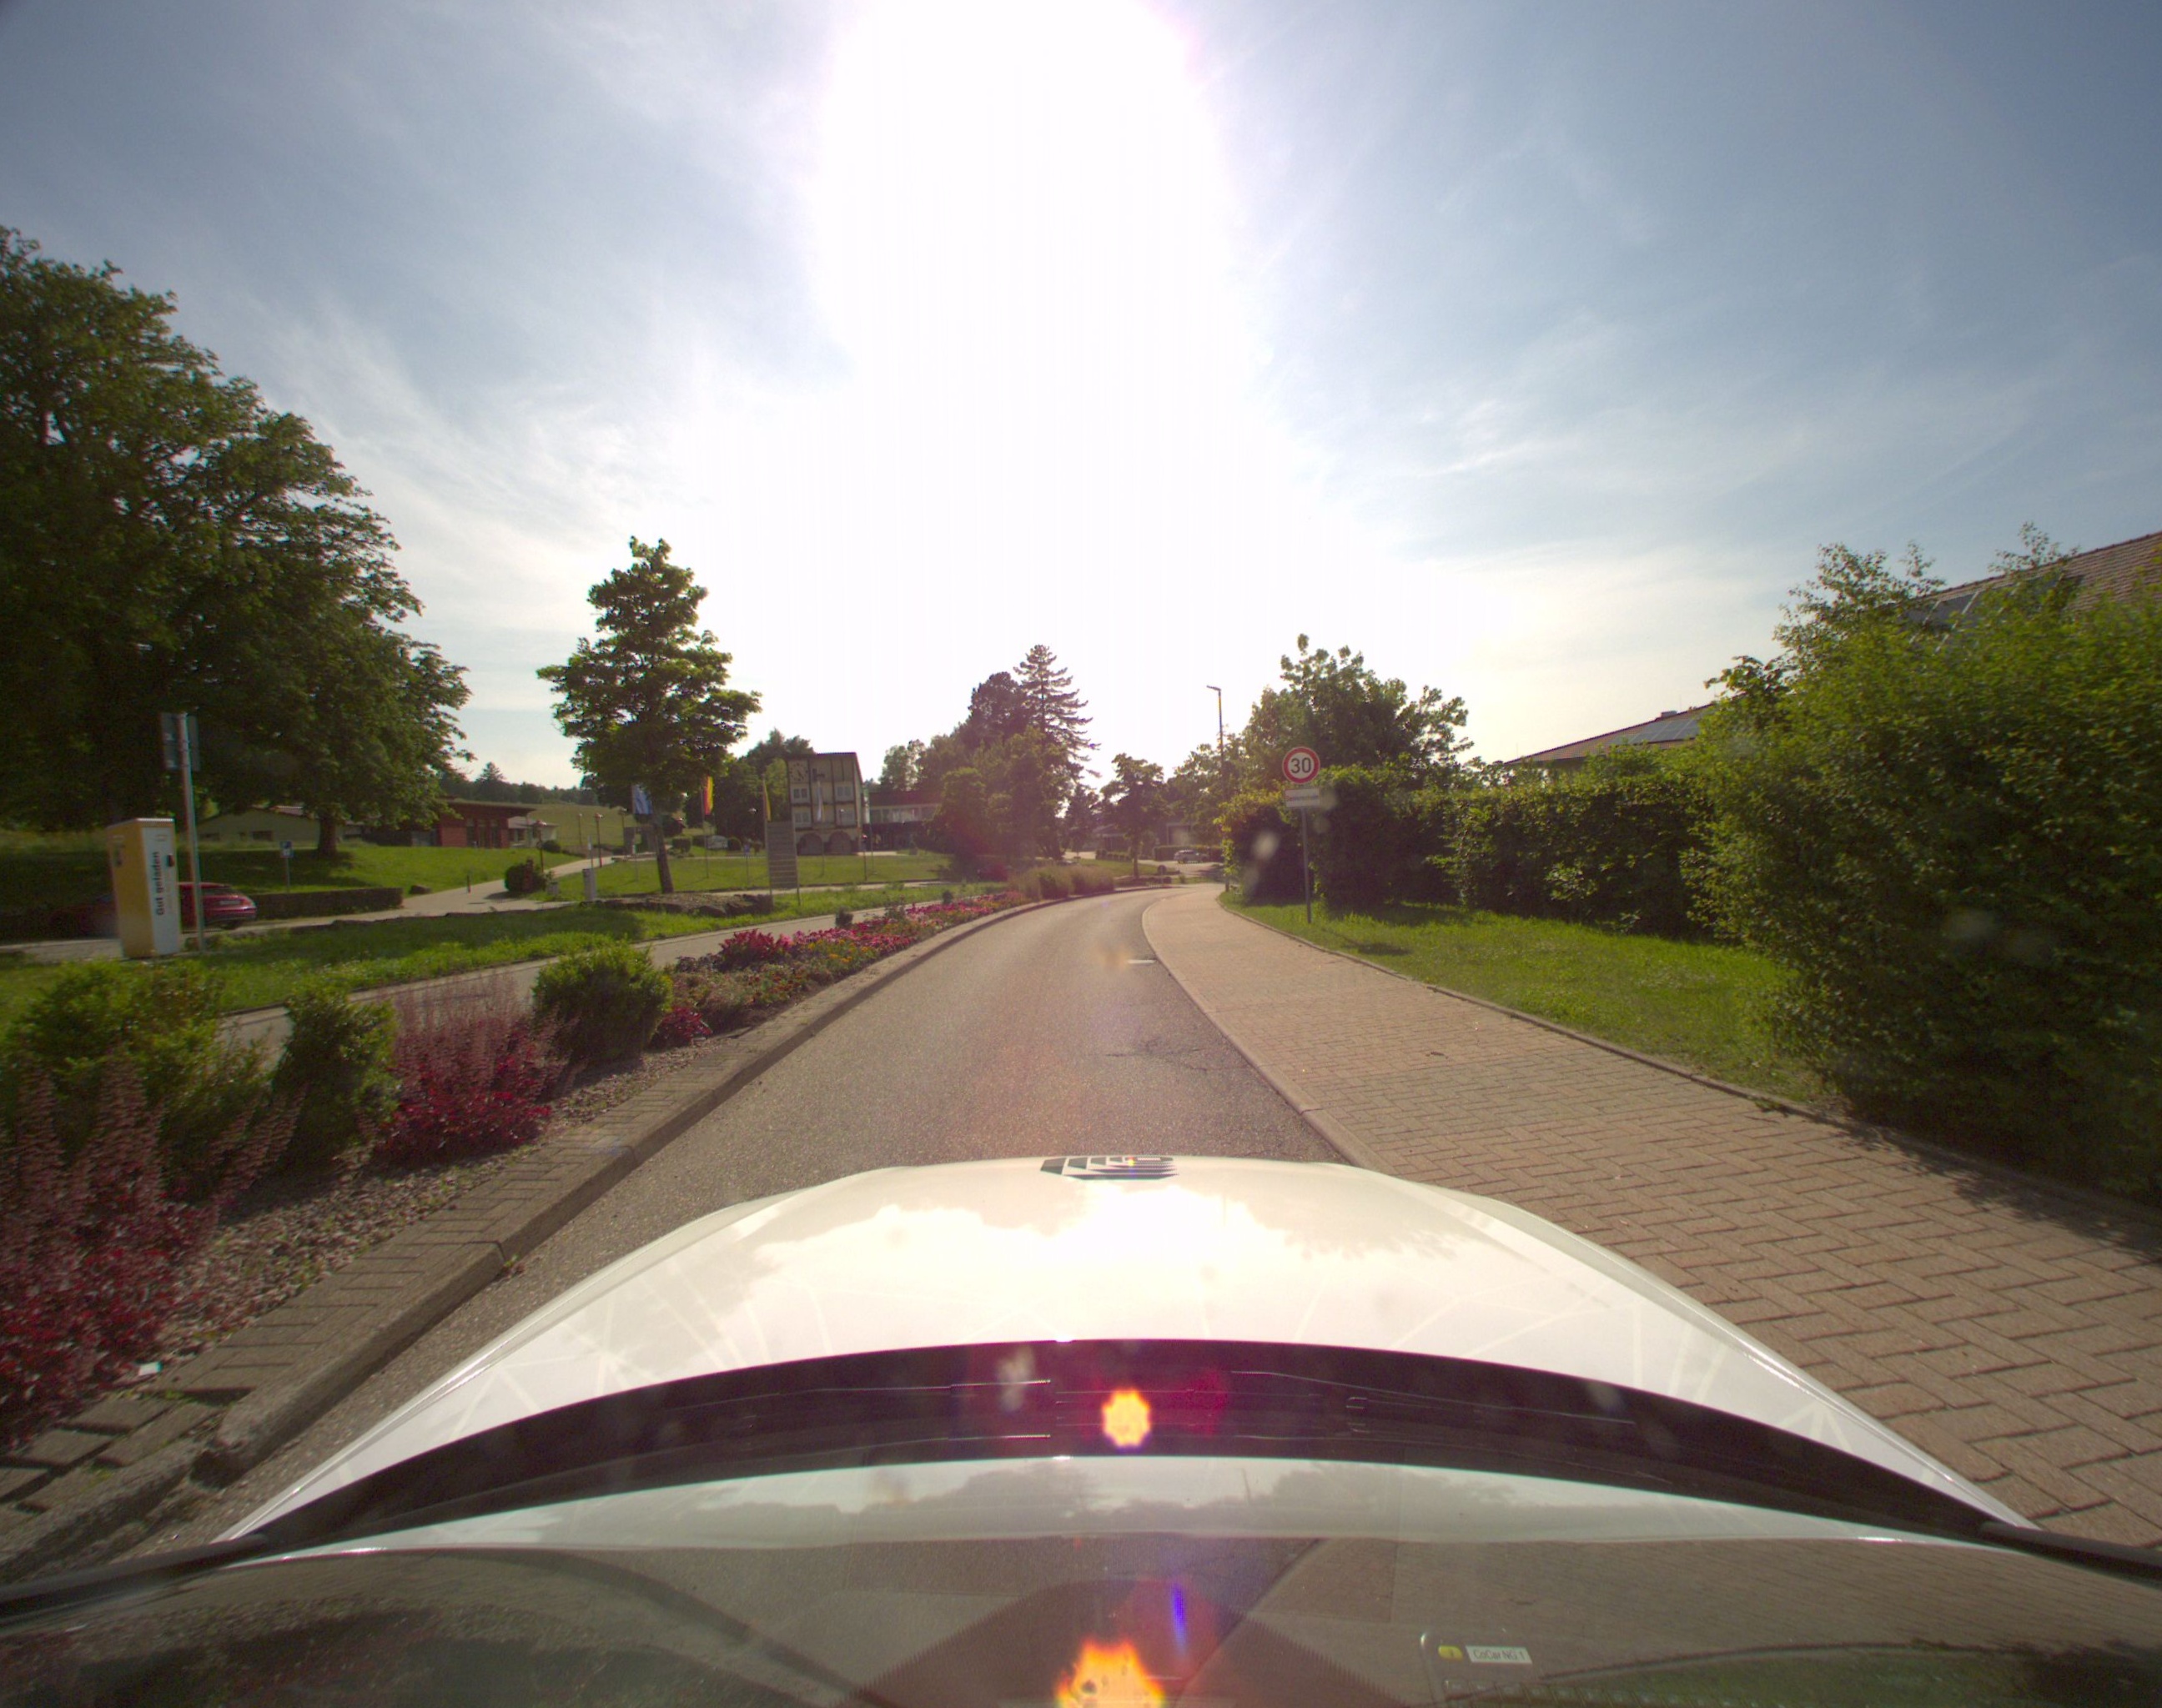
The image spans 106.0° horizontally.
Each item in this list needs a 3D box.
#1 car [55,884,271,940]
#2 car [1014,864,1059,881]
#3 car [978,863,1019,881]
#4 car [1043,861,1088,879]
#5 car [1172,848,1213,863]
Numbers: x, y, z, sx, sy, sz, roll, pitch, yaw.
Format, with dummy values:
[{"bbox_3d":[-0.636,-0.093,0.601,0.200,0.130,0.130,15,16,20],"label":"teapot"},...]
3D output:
[{"bbox_3d":[-26.162,1.629,23.306,4.207,1.399,1.825,-1,0,2],"label":"car"},{"bbox_3d":[-3.873,1.590,70.777,3.666,1.433,1.787,0,0,41],"label":"car"},{"bbox_3d":[-6.943,1.515,68.477,3.167,1.470,1.787,0,0,39],"label":"car"},{"bbox_3d":[-1.431,1.429,73.888,3.891,1.609,1.787,0,0,40],"label":"car"},{"bbox_3d":[14.075,0.194,103.038,4.726,1.533,1.990,-3,5,-17],"label":"car"}]
